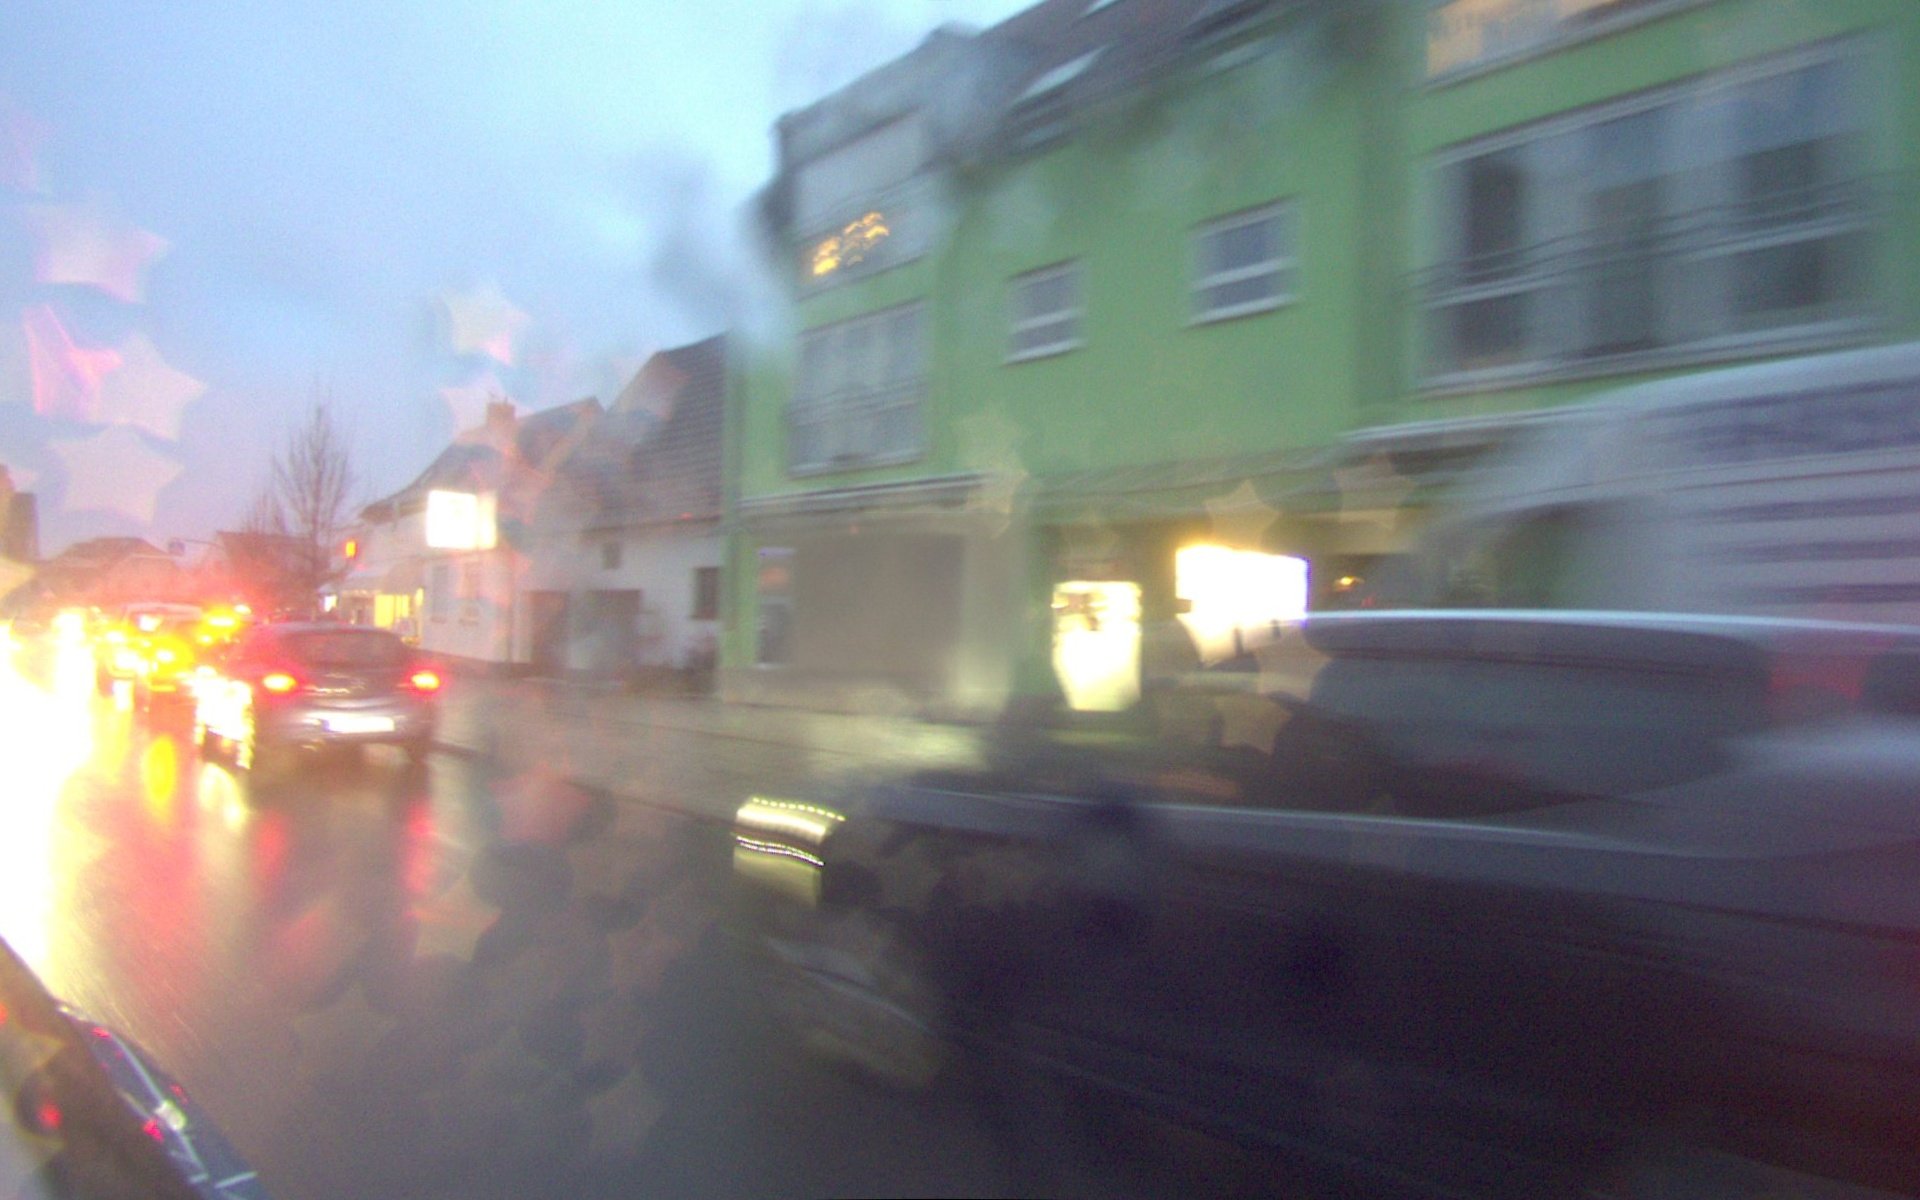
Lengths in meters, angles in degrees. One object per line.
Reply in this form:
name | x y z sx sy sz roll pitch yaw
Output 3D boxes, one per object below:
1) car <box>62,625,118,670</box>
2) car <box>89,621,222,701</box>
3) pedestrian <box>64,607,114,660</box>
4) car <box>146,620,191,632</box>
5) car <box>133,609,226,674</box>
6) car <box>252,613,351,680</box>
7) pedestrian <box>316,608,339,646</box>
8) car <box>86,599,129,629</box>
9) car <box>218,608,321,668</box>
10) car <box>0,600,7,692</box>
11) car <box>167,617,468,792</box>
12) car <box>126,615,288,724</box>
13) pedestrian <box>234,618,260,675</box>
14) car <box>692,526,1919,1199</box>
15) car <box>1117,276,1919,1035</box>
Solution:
car | -41.702 2.217 48.485 1.969 2.029 4.005 0 -1 -41
car | -17.676 1.382 22.153 1.928 1.559 4.420 4 -6 -42
pedestrian | -31.962 1.228 37.159 1.001 1.890 0.940 0 -2 10
car | -89.048 2.947 113.925 3.934 1.309 2.005 0 -1 -36
car | -23.418 1.236 30.282 1.969 1.719 4.974 -1 -1 -40
car | -18.597 1.239 28.499 1.856 1.723 4.721 0 -1 -39
pedestrian | -28.071 1.186 44.927 0.815 1.671 1.100 0 -1 -35
car | -55.372 0.909 65.717 1.969 1.868 4.005 0 -1 -42
car | -22.690 1.225 33.162 2.061 1.806 5.029 1 -2 -43
car | -18.880 0.876 18.474 1.969 1.743 4.006 0 -1 -41
car | -7.289 1.052 11.298 1.970 1.568 4.260 2 -4 -45
car | -12.596 1.081 16.823 1.834 1.567 4.264 3 -3 -40
pedestrian | -20.297 1.323 28.814 0.522 1.597 0.577 2 -3 -41
car | 1.243 0.729 3.053 4.225 1.576 1.897 0 -3 41
car | 4.153 0.188 4.285 6.764 2.579 2.457 0 0 45
